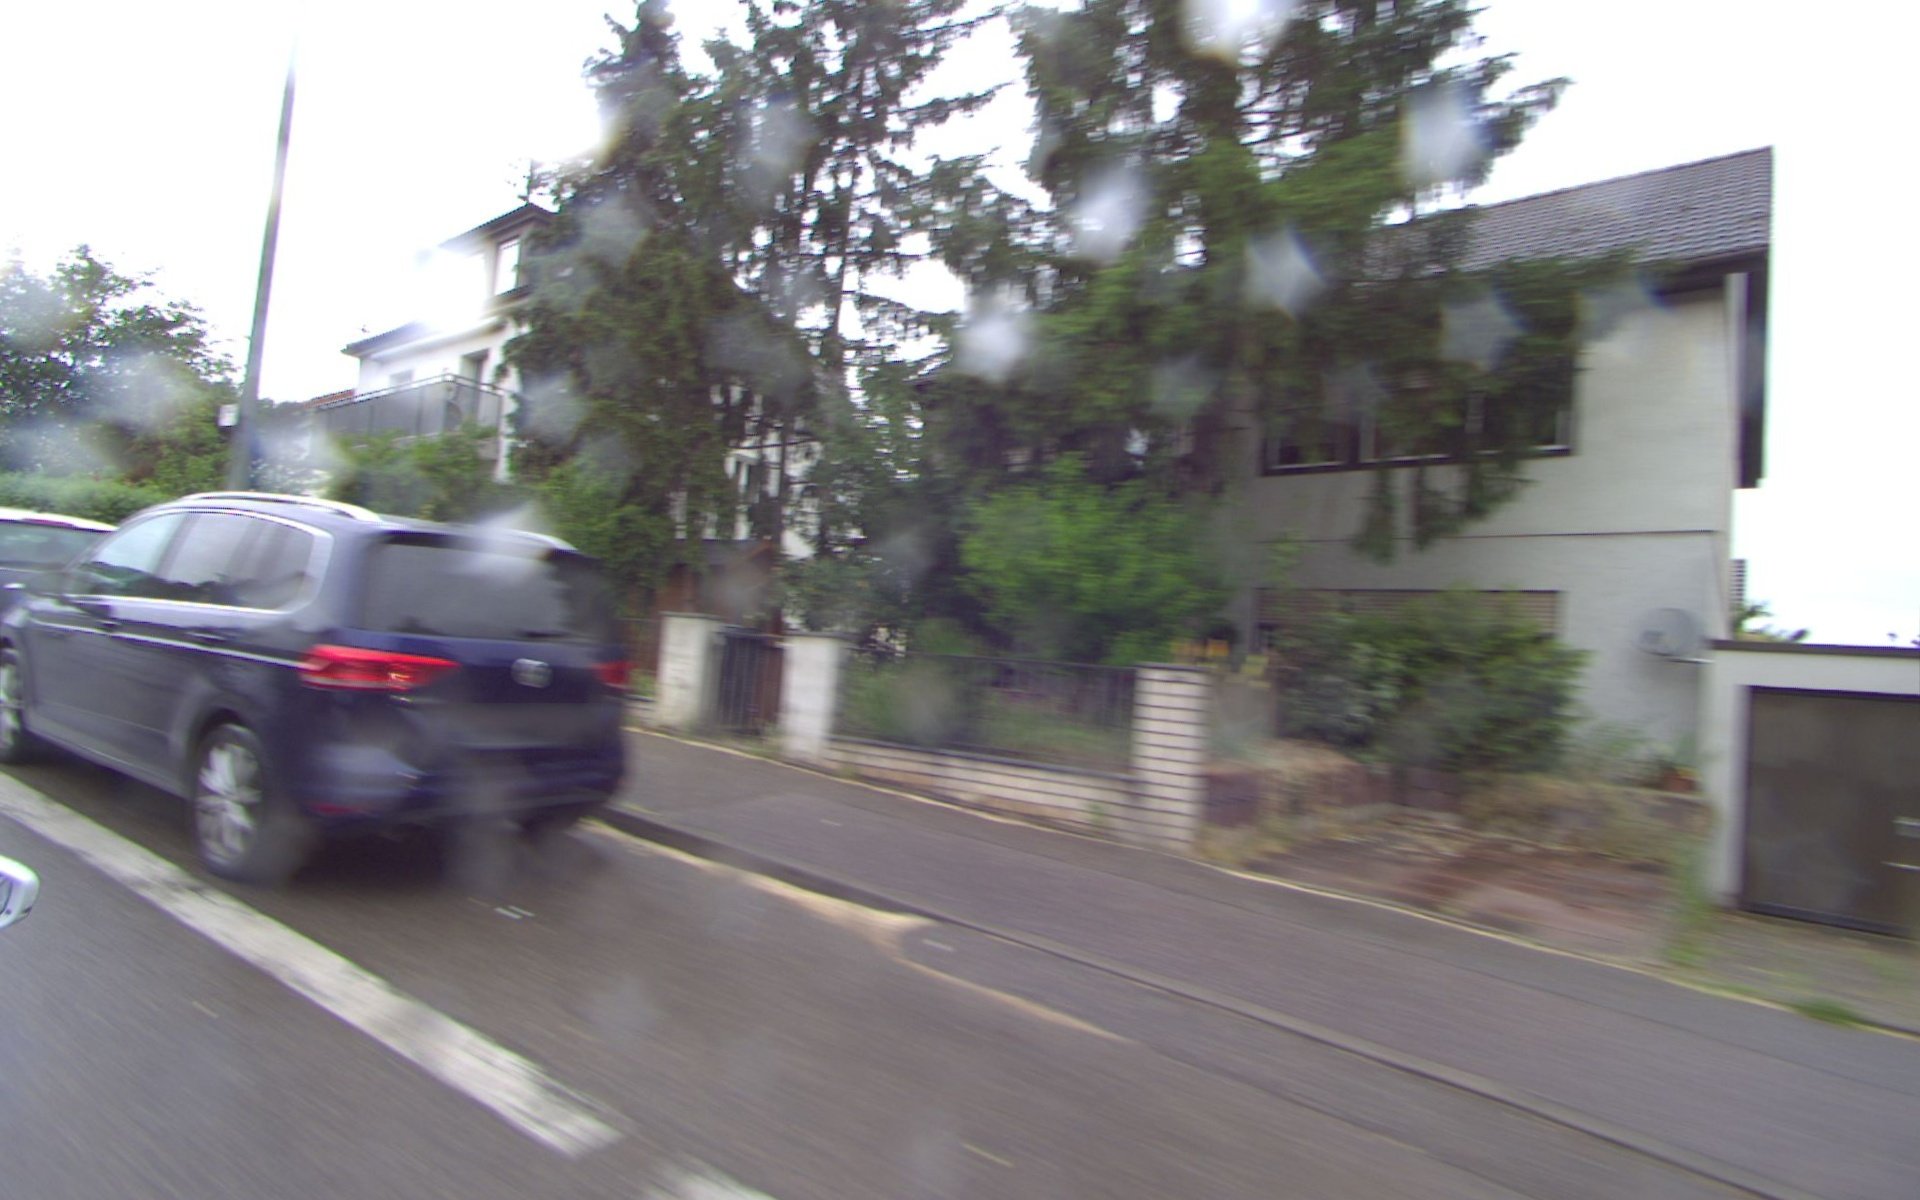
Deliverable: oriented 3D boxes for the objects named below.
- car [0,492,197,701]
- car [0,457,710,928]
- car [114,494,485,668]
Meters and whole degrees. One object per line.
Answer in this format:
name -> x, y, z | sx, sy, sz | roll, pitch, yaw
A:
car -> -8.251, -0.158, 8.375 | 3.638, 1.474, 1.637 | 6, -2, 30
car -> -3.738, 0.265, 5.698 | 4.387, 1.720, 1.833 | 6, -2, 32
car -> -9.499, -0.177, 14.828 | 1.748, 1.704, 4.019 | 6, -6, 32
